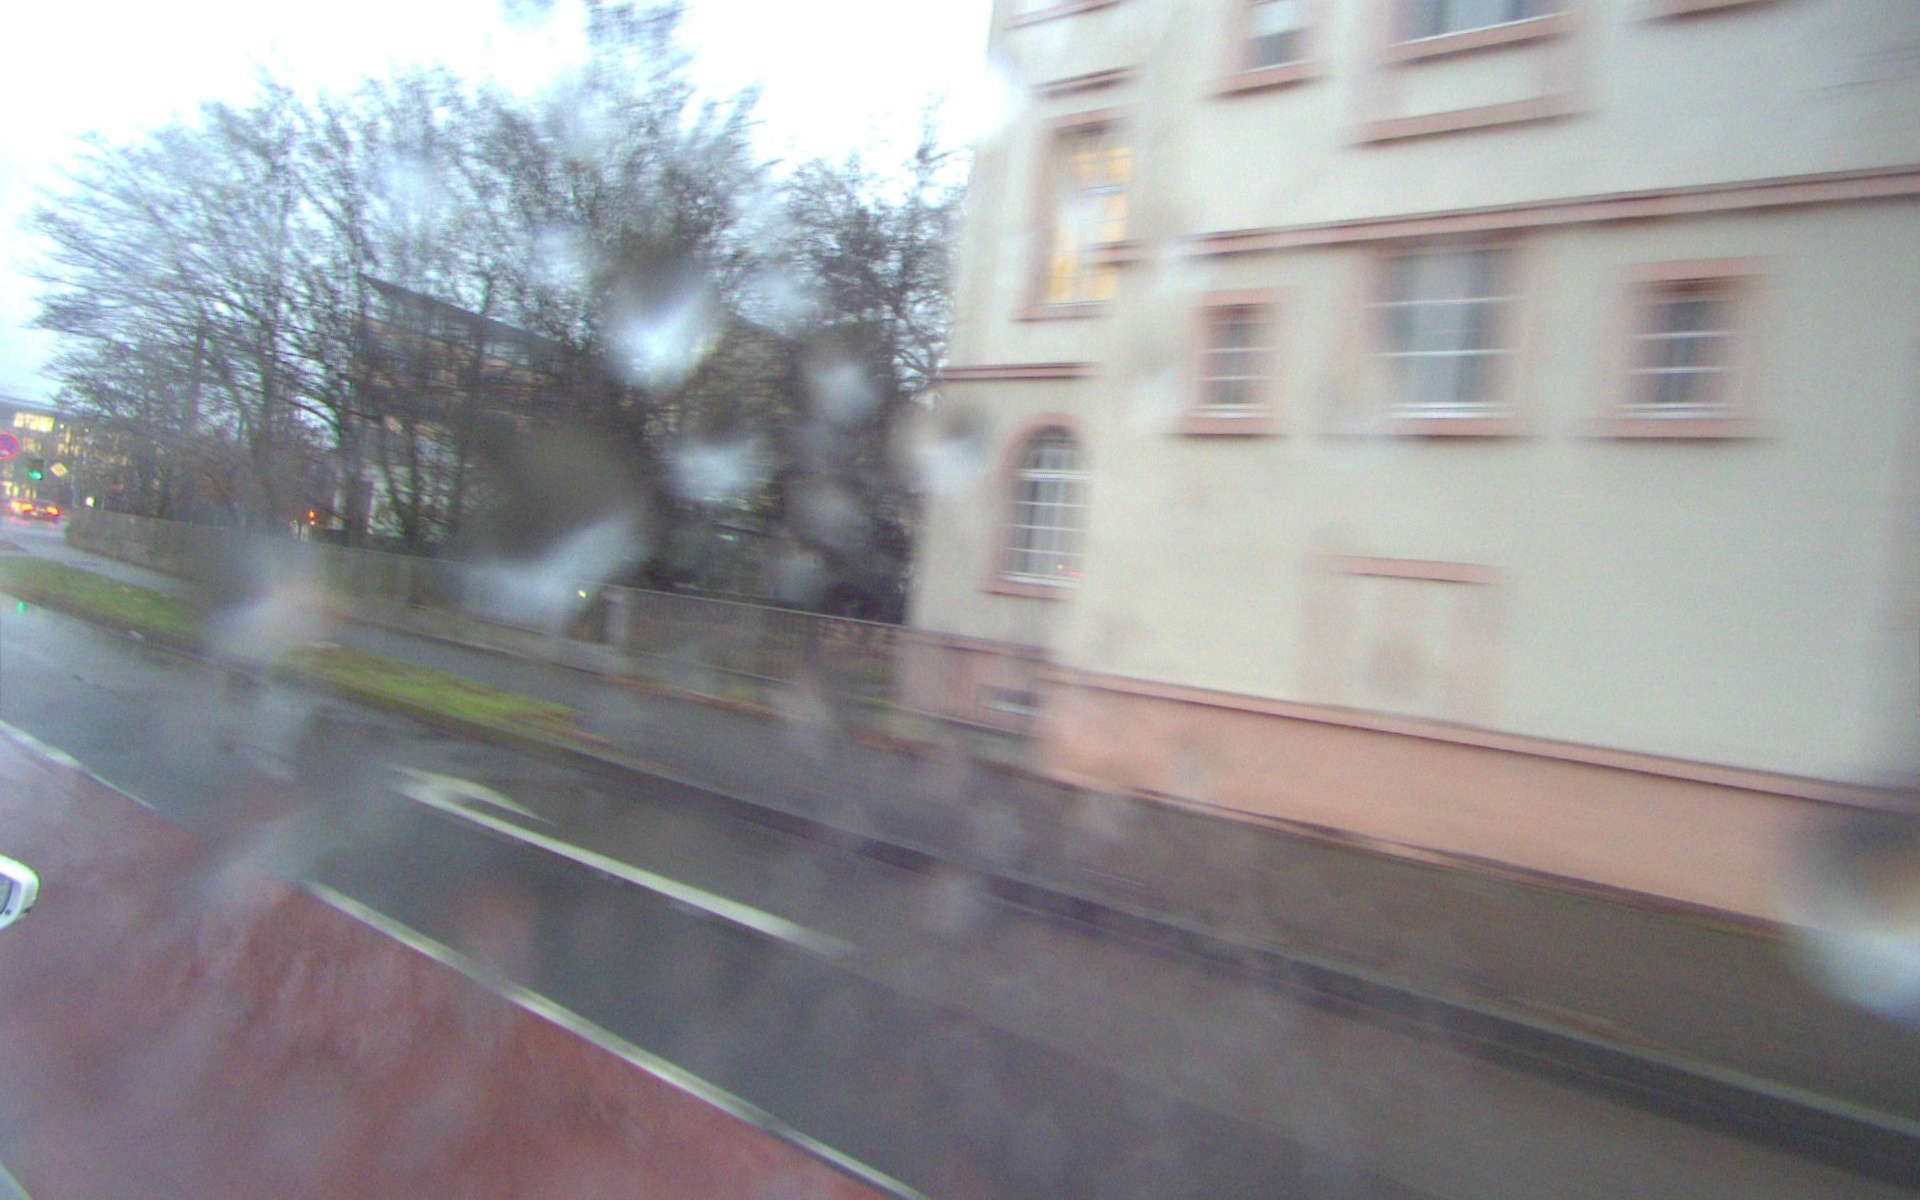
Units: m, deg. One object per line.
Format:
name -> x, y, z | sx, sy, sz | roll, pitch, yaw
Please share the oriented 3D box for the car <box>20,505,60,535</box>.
car -> -60.841, -5.313, 66.565 | 1.739, 1.631, 3.953 | 7, 0, -42
